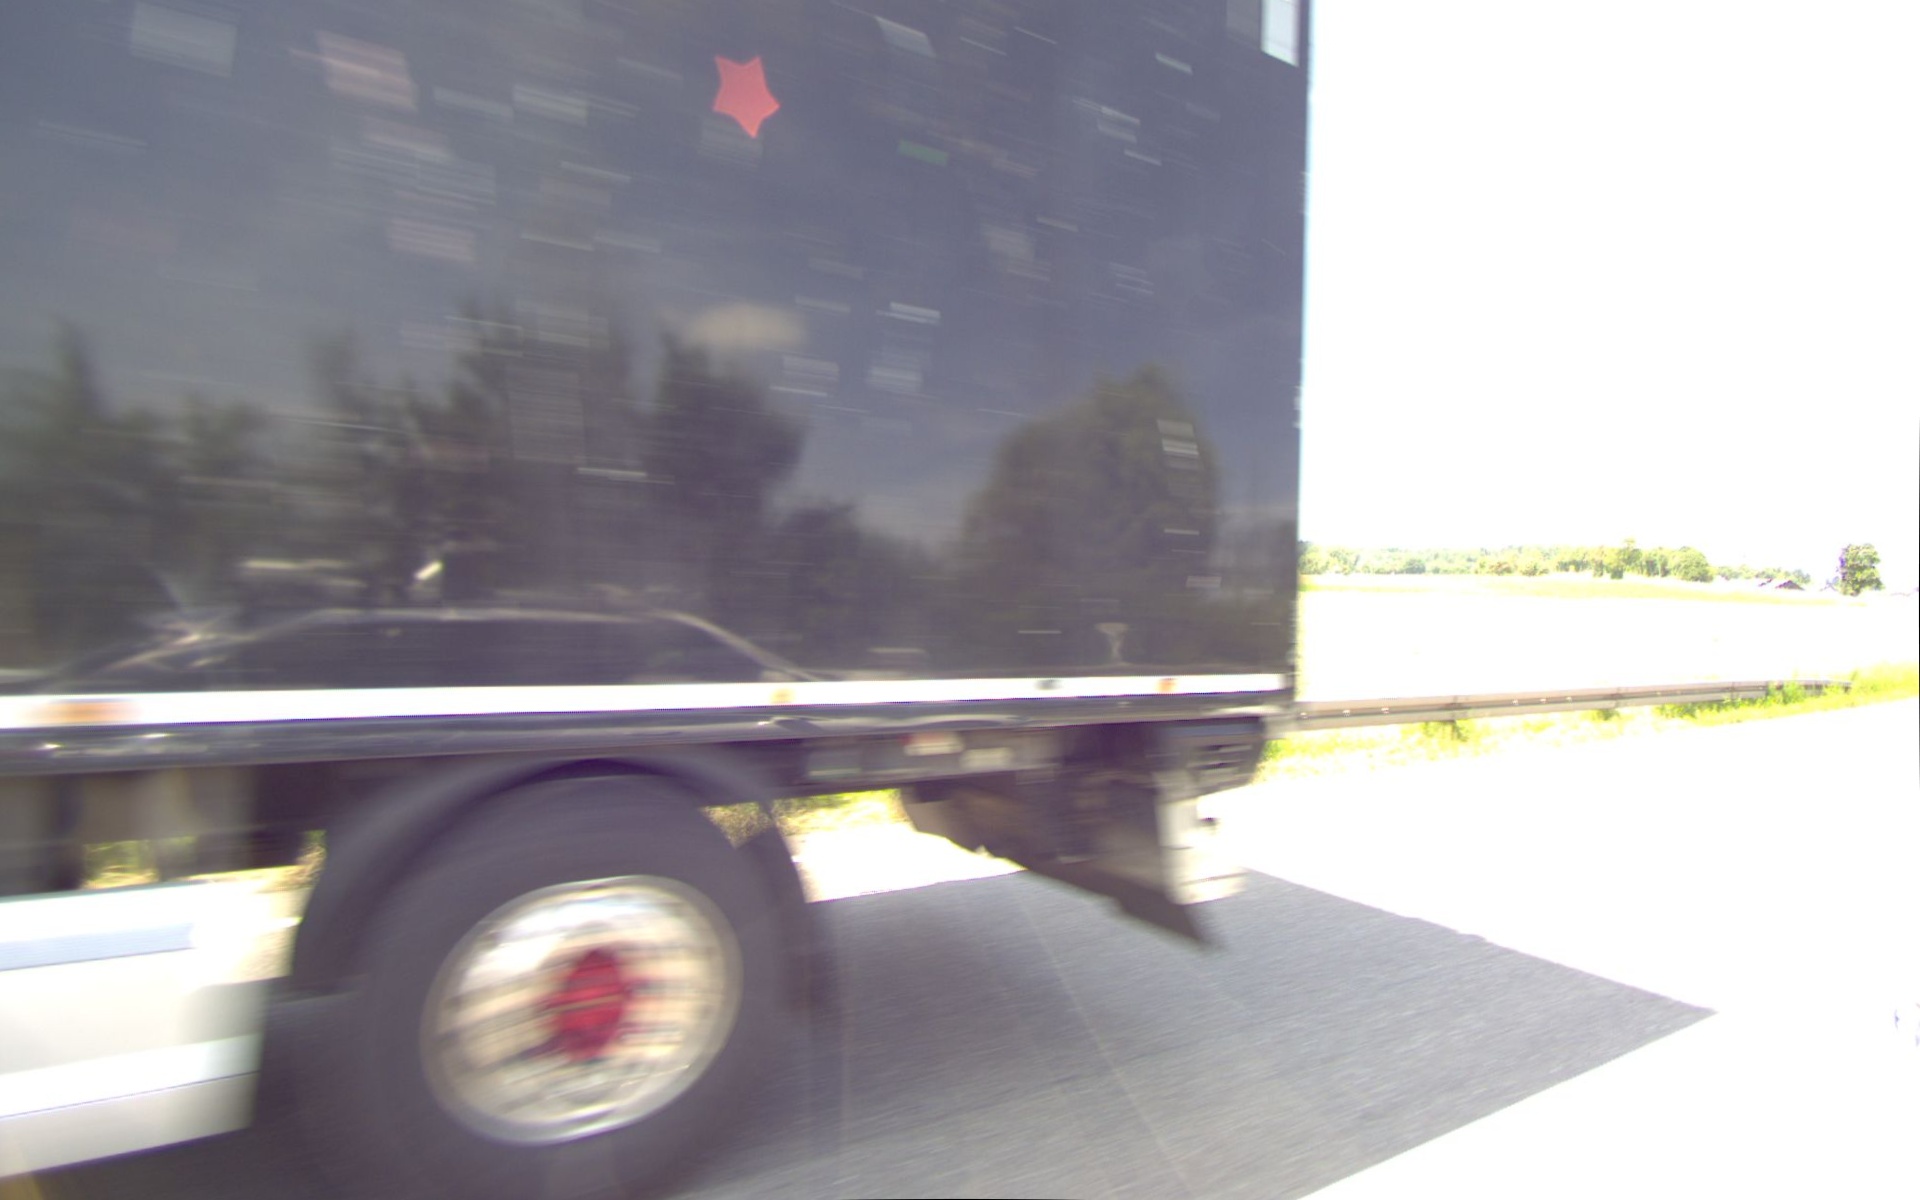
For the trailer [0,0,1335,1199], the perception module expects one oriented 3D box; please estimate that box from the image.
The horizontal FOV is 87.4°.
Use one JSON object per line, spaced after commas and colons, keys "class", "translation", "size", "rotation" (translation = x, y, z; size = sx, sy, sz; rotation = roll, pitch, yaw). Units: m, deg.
{"class": "trailer", "translation": [-5.670, -0.784, 0.964], "size": [14.280, 4.205, 3.224], "rotation": [1, 0, -32]}
